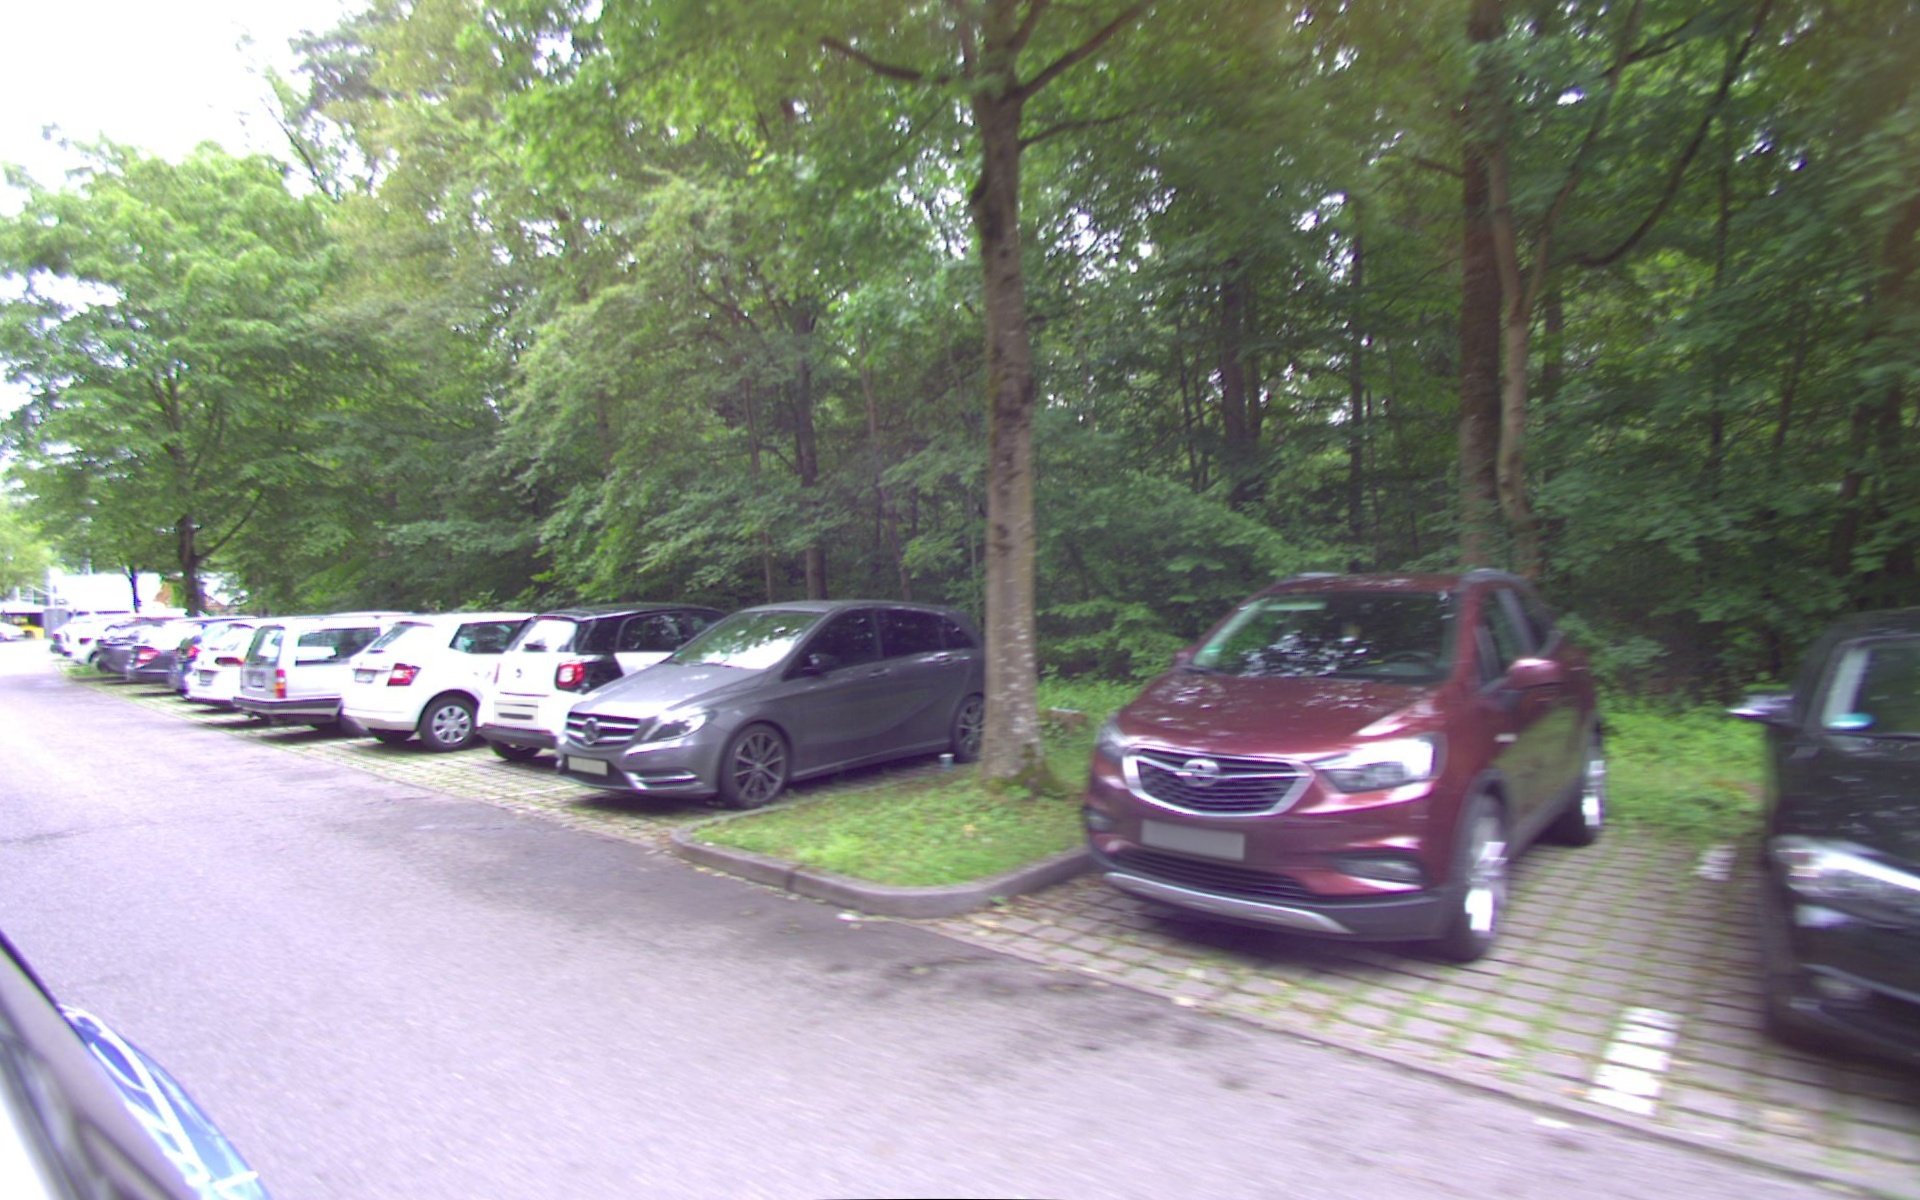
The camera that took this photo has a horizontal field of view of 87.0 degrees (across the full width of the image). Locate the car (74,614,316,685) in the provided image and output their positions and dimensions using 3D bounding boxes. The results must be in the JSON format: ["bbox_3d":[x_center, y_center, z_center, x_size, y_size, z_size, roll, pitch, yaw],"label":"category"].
[{"bbox_3d":[-18.024,1.106,23.972,4.354,1.435,2.037,-1,0,-45],"label":"car"}]

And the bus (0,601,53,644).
[{"bbox_3d":[-76.230,1.801,76.965,2.802,3.183,10.405,-4,-2,31],"label":"bus"}]

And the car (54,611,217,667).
[{"bbox_3d":[-26.335,1.217,32.514,3.907,1.640,2.003,0,-1,-35],"label":"car"}]

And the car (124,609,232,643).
[{"bbox_3d":[-48.171,1.583,62.455,5.015,1.930,1.984,-1,-1,-30],"label":"car"}]

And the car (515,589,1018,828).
[{"bbox_3d":[-1.450,0.711,8.794,1.918,1.567,3.994,-1,0,39],"label":"car"}]

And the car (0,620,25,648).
[{"bbox_3d":[-60.755,2.136,62.137,4.456,1.706,2.172,-1,0,-25],"label":"car"}]

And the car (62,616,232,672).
[{"bbox_3d":[-23.202,1.217,28.937,3.682,1.430,1.874,0,-1,-43],"label":"car"}]

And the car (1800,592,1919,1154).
[{"bbox_3d":[4.233,0.672,3.635,1.785,1.374,3.948,-1,0,39],"label":"car"}]

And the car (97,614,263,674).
[{"bbox_3d":[-21.226,1.153,27.597,3.424,1.492,1.685,0,-1,-44],"label":"car"}]

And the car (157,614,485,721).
[{"bbox_3d":[-10.606,1.015,17.078,1.890,1.497,4.323,-1,0,39],"label":"car"}]

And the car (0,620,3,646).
[{"bbox_3d":[-59.679,2.039,59.894,3.941,1.567,1.953,-3,-1,-24],"label":"car"}]

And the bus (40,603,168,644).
[{"bbox_3d":[-71.460,1.910,84.666,2.802,3.183,7.673,-4,-2,32],"label":"bus"}]

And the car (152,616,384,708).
[{"bbox_3d":[-12.575,1.058,18.491,1.679,1.455,3.185,-1,0,41],"label":"car"}]

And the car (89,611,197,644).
[{"bbox_3d":[-43.417,1.447,53.944,4.296,1.610,2.036,-1,-1,-34],"label":"car"}]

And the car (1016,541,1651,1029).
[{"bbox_3d":[2.430,0.603,5.663,1.925,1.596,4.469,-1,0,40],"label":"car"}]

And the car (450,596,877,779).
[{"bbox_3d":[-2.965,0.762,10.959,1.844,1.562,4.197,-1,0,36],"label":"car"}]

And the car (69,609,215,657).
[{"bbox_3d":[-31.020,1.211,38.439,4.183,1.660,1.972,0,-1,-43],"label":"car"}]

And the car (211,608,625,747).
[{"bbox_3d":[-7.020,0.885,13.512,1.869,1.497,4.514,-1,-1,41],"label":"car"}]

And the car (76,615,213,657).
[{"bbox_3d":[-32.538,1.384,40.432,4.181,1.545,1.765,0,-1,-42],"label":"car"}]

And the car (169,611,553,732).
[{"bbox_3d":[-8.731,0.935,15.116,2.083,1.458,4.519,-1,-1,38],"label":"car"}]

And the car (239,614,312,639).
[{"bbox_3d":[-59.338,2.285,87.783,1.997,1.790,4.867,-5,-2,37],"label":"car"}]

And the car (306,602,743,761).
[{"bbox_3d":[-5.089,0.820,12.367,1.939,1.497,4.517,-1,0,40],"label":"car"}]

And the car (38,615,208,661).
[{"bbox_3d":[-29.945,1.322,36.318,4.582,1.489,2.098,0,-1,-42],"label":"car"}]

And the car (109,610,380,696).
[{"bbox_3d":[-14.397,0.989,20.501,4.217,1.497,2.059,-1,0,-45],"label":"car"}]
